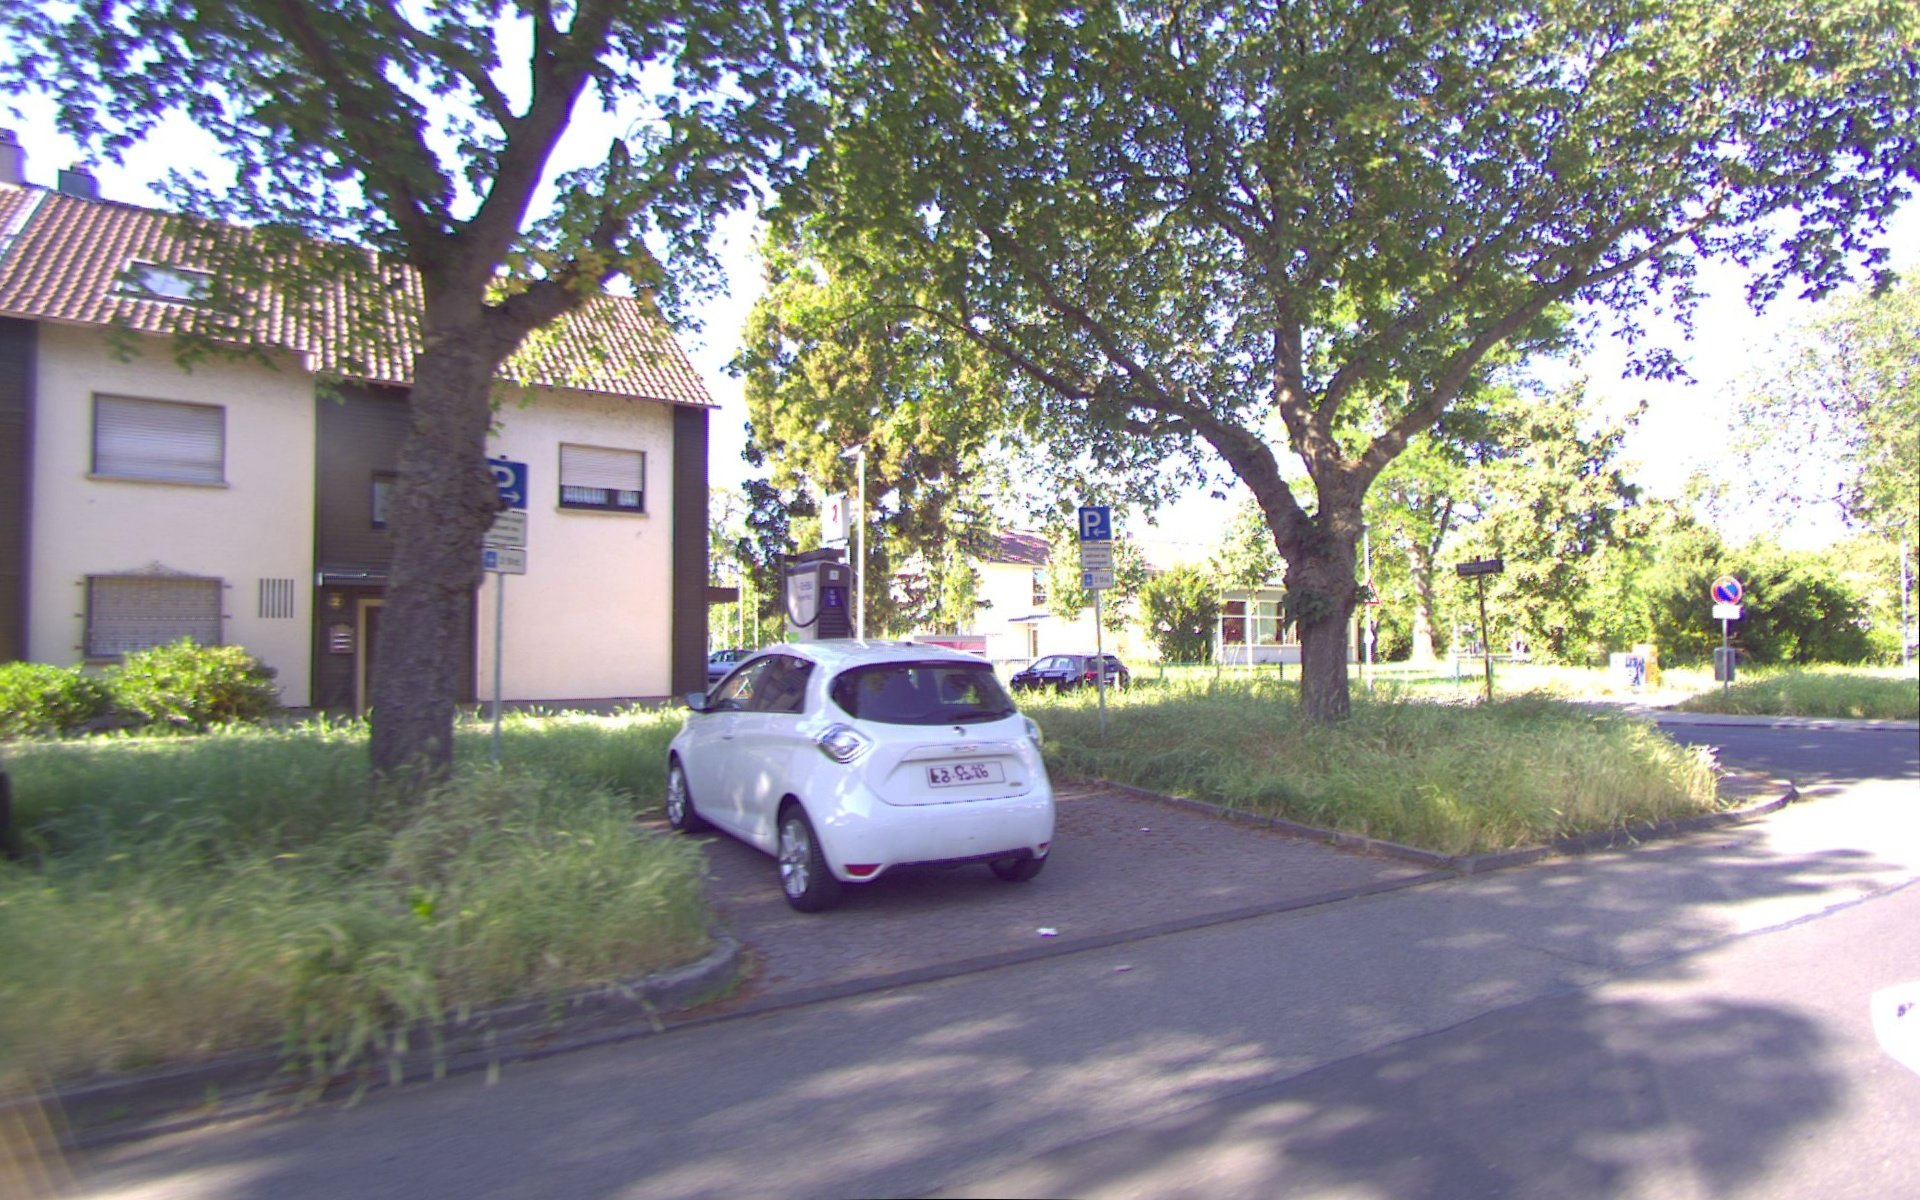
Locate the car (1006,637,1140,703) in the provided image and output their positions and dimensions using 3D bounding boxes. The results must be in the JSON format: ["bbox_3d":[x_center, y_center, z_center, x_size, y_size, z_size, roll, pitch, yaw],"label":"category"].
[{"bbox_3d":[3.100,1.906,28.321,1.801,1.737,3.969,1,-2,-30],"label":"car"}]

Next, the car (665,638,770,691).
[{"bbox_3d":[-8.094,2.071,33.290,1.982,1.385,3.957,2,1,-37],"label":"car"}]

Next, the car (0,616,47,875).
[{"bbox_3d":[-6.357,0.924,4.925,1.977,1.610,3.966,2,0,-31],"label":"car"}]

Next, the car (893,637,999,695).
[{"bbox_3d":[-0.539,2.200,34.186,1.977,1.844,3.969,1,-2,-30],"label":"car"}]

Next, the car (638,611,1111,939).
[{"bbox_3d":[-0.911,0.973,7.382,1.944,1.682,3.967,1,-2,-31],"label":"car"}]

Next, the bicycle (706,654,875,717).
[{"bbox_3d":[-3.592,1.815,21.891,0.696,1.192,4.033,-2,-3,43],"label":"bicycle"}]

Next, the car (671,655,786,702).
[{"bbox_3d":[-8.382,2.801,36.430,3.720,1.539,1.788,1,-2,-34],"label":"car"}]
